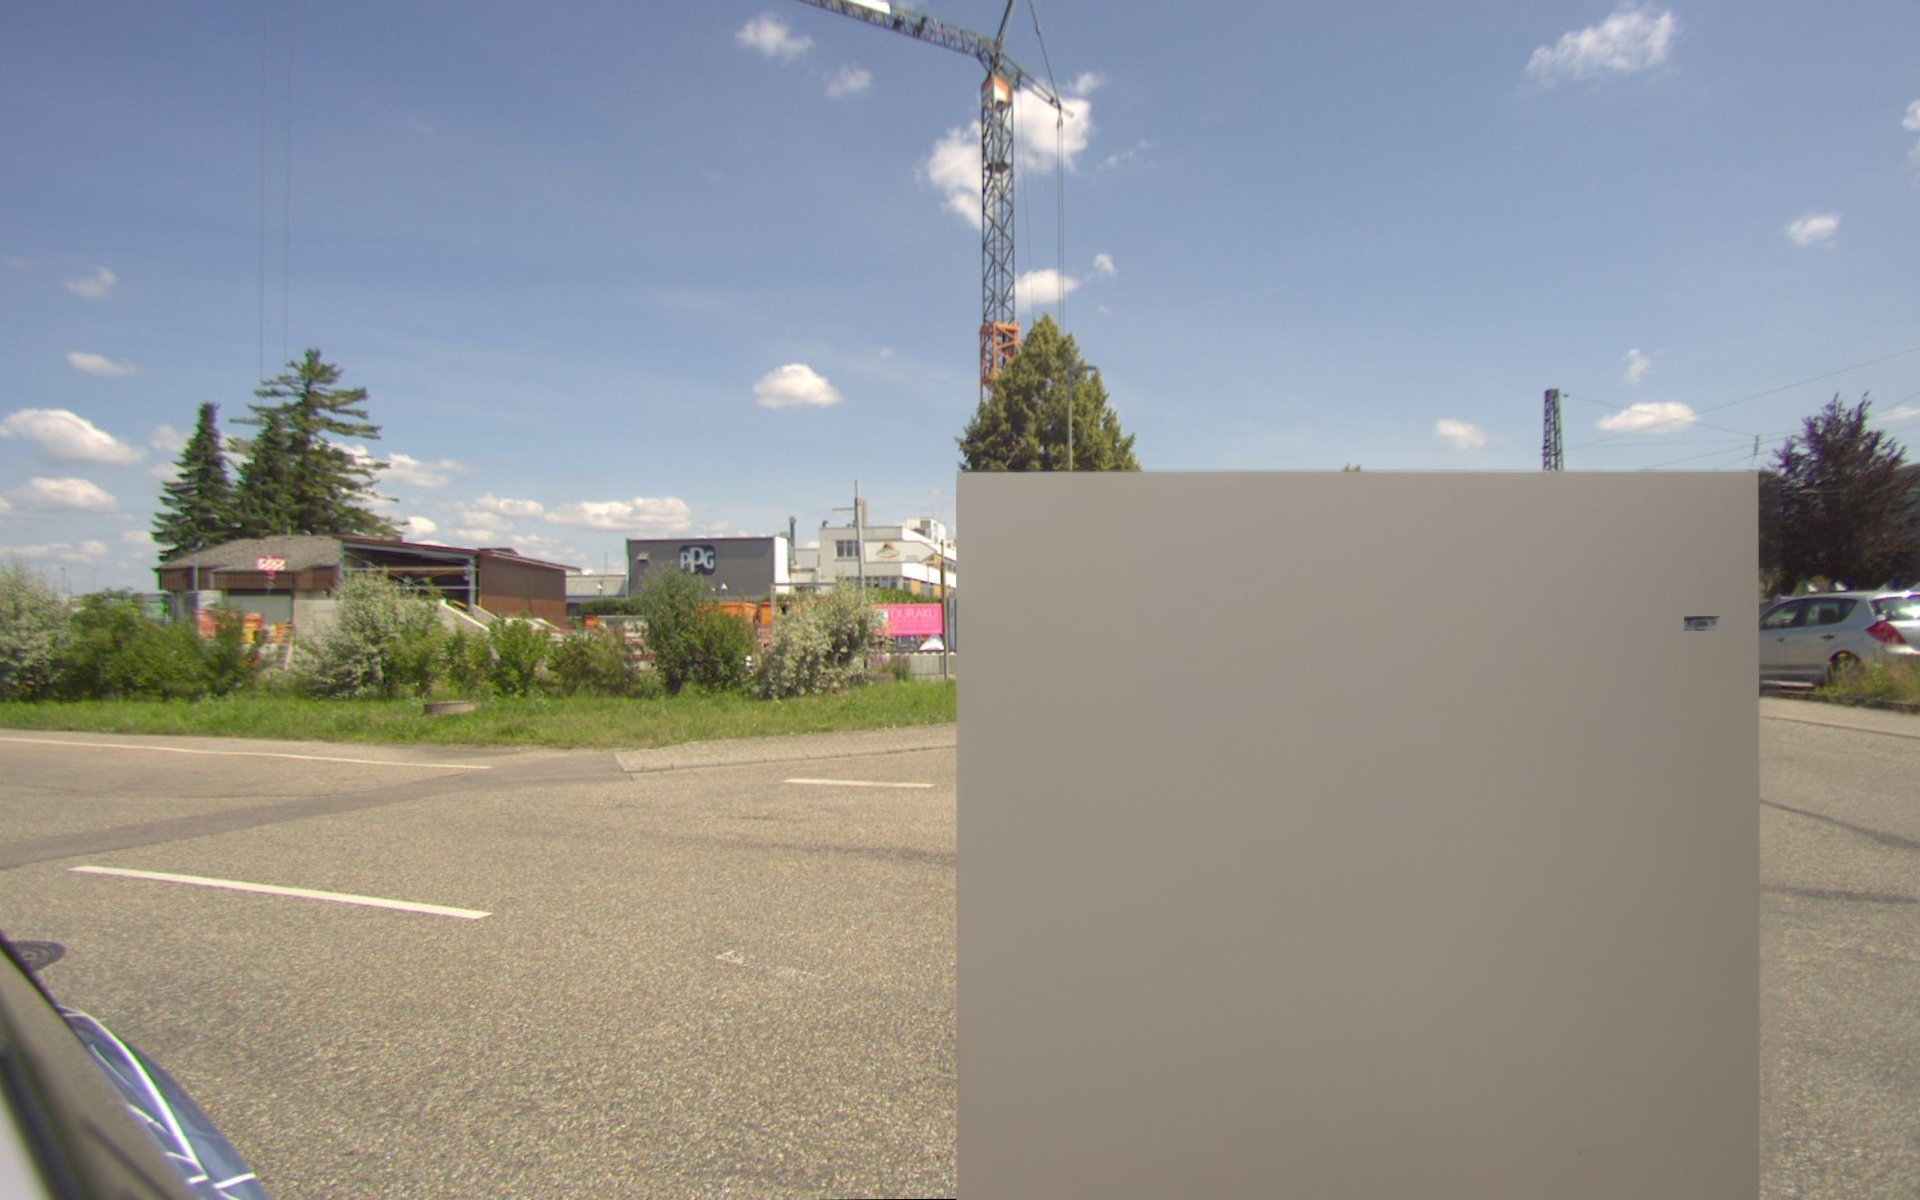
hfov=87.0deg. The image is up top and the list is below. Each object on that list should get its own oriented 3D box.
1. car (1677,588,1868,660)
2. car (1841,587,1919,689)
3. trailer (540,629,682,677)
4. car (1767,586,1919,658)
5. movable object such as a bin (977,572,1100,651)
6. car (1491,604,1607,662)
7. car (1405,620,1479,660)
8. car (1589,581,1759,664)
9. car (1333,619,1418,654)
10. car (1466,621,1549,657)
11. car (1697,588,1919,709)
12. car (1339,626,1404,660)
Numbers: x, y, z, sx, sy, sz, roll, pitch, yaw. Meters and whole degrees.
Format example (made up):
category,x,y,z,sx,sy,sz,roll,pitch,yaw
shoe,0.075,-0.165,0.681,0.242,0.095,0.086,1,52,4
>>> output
category,x,y,z,sx,sy,sz,roll,pitch,yaw
car,20.047,0.593,25.242,1.934,1.621,4.256,-1,-1,12
car,15.730,0.568,15.197,1.786,1.576,4.248,-1,-1,10
trailer,-14.352,2.167,41.864,5.315,1.792,1.825,0,0,-6
car,22.232,0.533,24.889,1.934,1.621,4.256,-1,-1,12
movable object such as a bin,3.480,0.458,45.429,5.046,3.317,2.402,0,4,-10
car,18.325,1.015,31.707,1.713,1.698,3.990,0,-1,8
car,19.772,1.619,41.681,1.590,1.533,3.990,-1,-1,8
car,17.163,0.558,24.575,1.934,1.847,3.821,-1,-1,12
car,20.013,1.760,48.842,3.391,1.604,1.649,0,0,1
car,22.008,1.541,40.826,1.604,1.359,3.990,-1,-1,8
car,13.159,0.658,14.918,1.773,1.556,3.955,-2,-2,4
car,17.306,1.780,42.732,1.590,1.360,3.990,-1,-1,8
